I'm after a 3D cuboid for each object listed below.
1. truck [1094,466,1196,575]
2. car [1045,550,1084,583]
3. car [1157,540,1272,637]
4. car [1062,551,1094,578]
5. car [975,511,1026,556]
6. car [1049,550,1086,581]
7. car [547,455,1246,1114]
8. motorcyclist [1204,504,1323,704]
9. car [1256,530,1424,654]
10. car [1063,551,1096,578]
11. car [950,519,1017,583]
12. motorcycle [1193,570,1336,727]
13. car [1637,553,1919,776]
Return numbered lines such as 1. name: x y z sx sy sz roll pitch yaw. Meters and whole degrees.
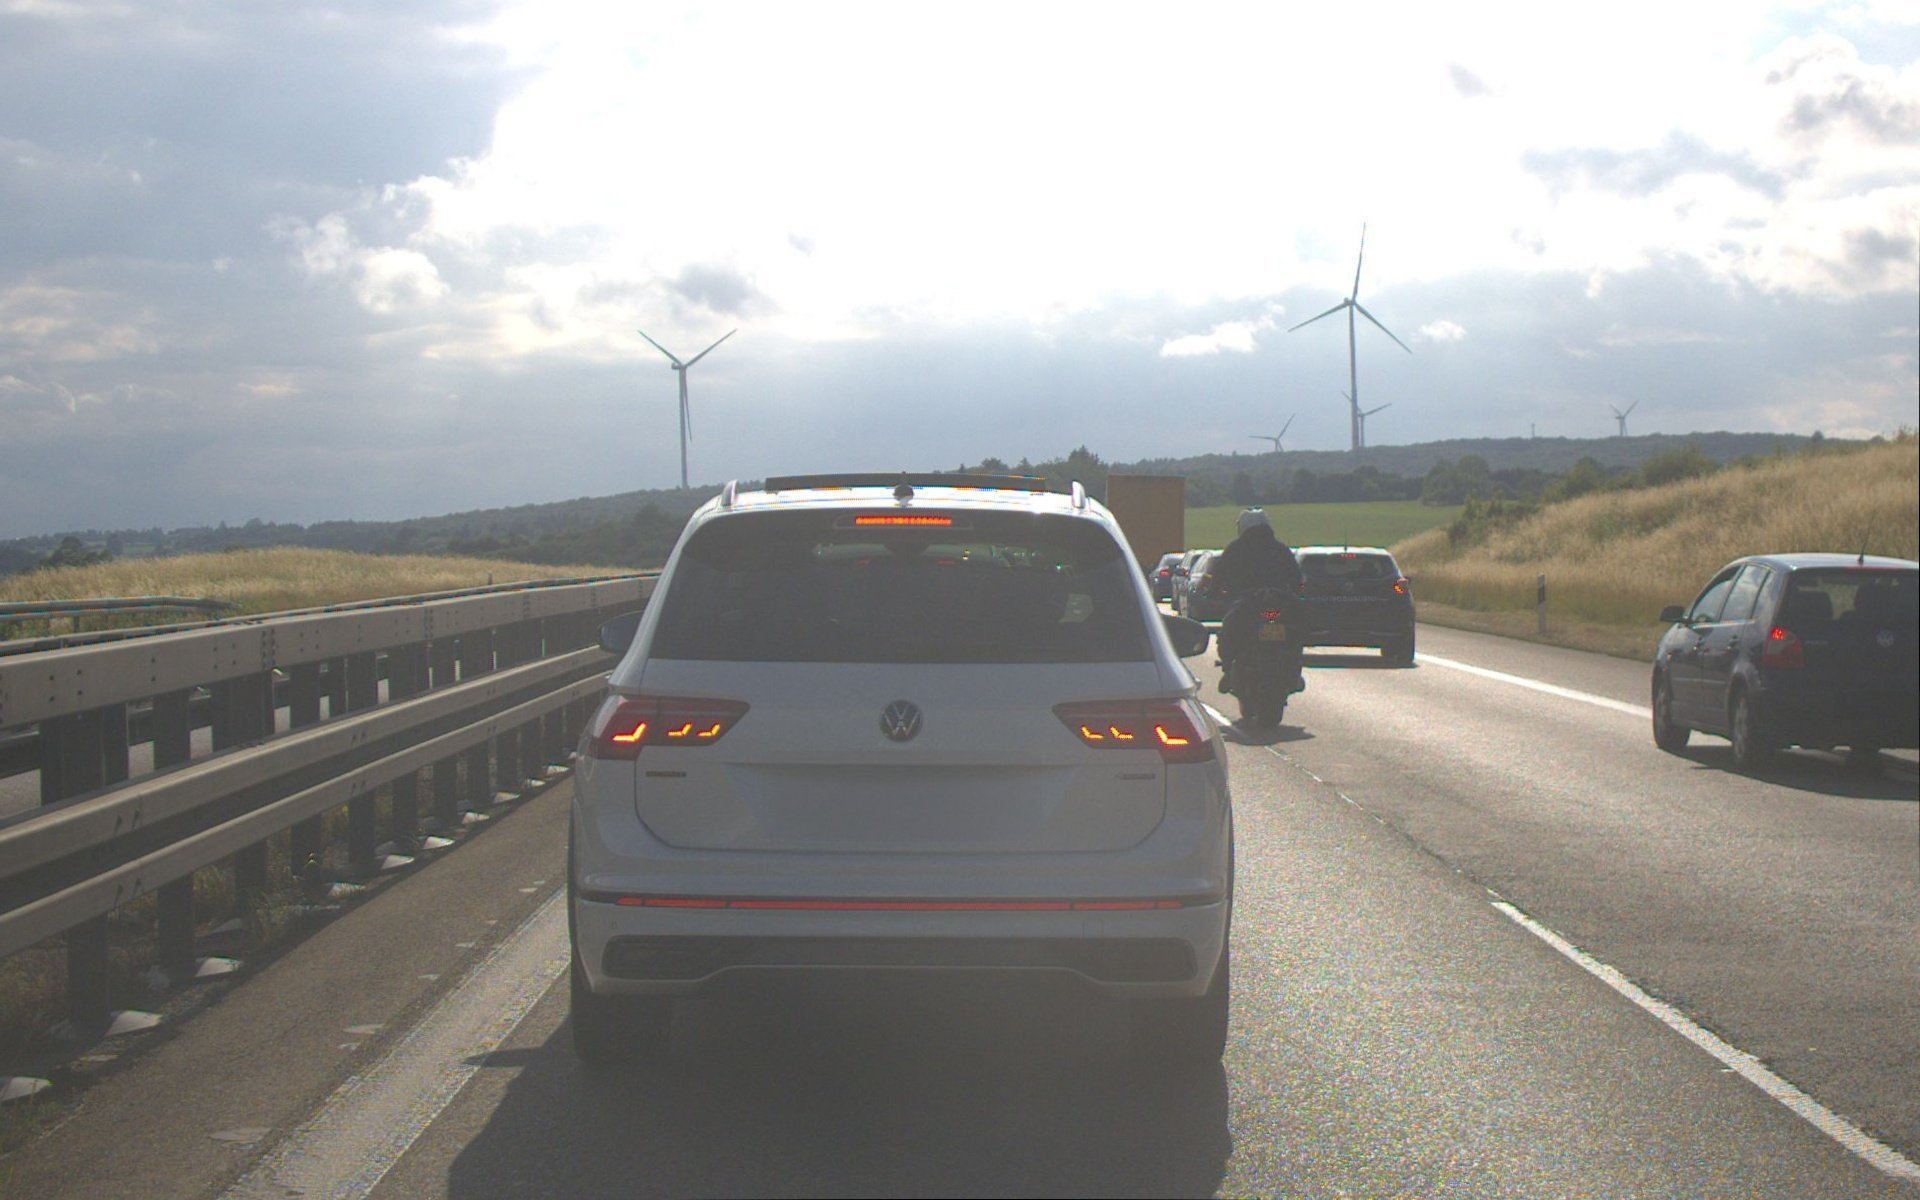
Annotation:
1. truck: 6.341 -2.775 119.370 3.184 3.581 11.130 0 1 1
2. car: 5.019 -1.626 165.162 1.704 1.540 4.000 0 1 0
3. car: 4.451 -0.228 60.550 1.704 1.644 4.000 0 1 0
4. car: 6.924 -2.110 202.458 1.704 1.540 4.000 0 1 0
5. car: 1.413 -2.316 120.356 1.704 1.540 4.000 0 1 0
6. car: 5.481 -1.761 175.532 1.704 1.540 4.000 0 1 0
7. car: -0.177 0.444 10.729 1.770 1.670 4.000 0 1 0
8. motorcyclist: 2.402 0.026 27.299 0.849 1.554 0.934 0 1 -1
9. car: 4.887 -0.125 44.632 1.704 1.540 4.000 0 1 0
10. car: 6.808 -2.025 195.962 1.704 1.540 4.000 0 1 0
11. car: 0.602 -1.277 90.314 1.704 1.644 4.000 0 1 0
12. motorcycle: 2.399 0.357 27.350 0.895 1.186 2.257 0 1 -1
13. car: 5.848 0.387 23.709 1.605 1.415 3.672 0 1 0
